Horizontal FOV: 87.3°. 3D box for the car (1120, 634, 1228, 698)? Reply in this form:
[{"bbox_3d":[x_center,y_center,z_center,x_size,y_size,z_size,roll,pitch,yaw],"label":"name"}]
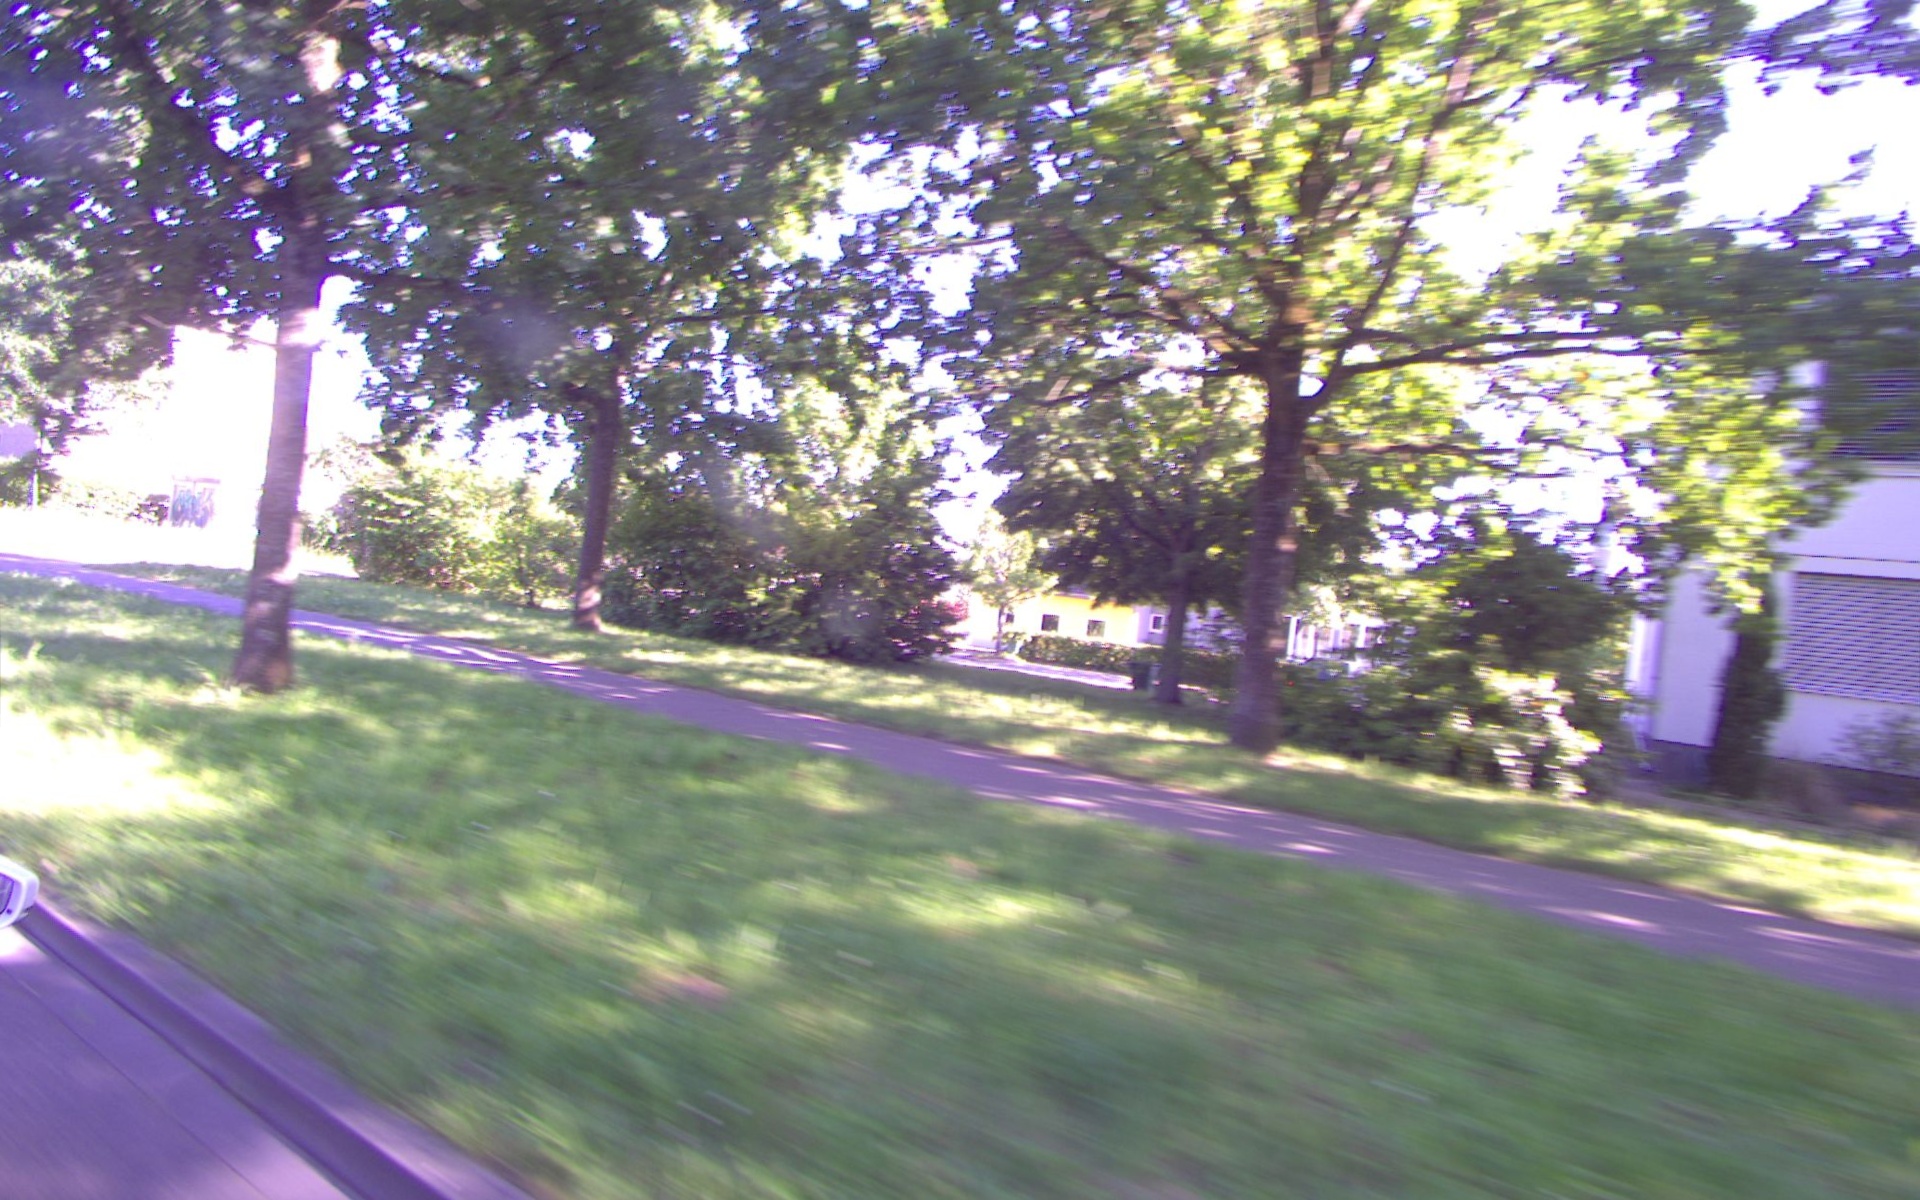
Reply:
[{"bbox_3d":[5.299,1.653,24.635,1.403,1.308,3.405,7,-1,32],"label":"car"}]
